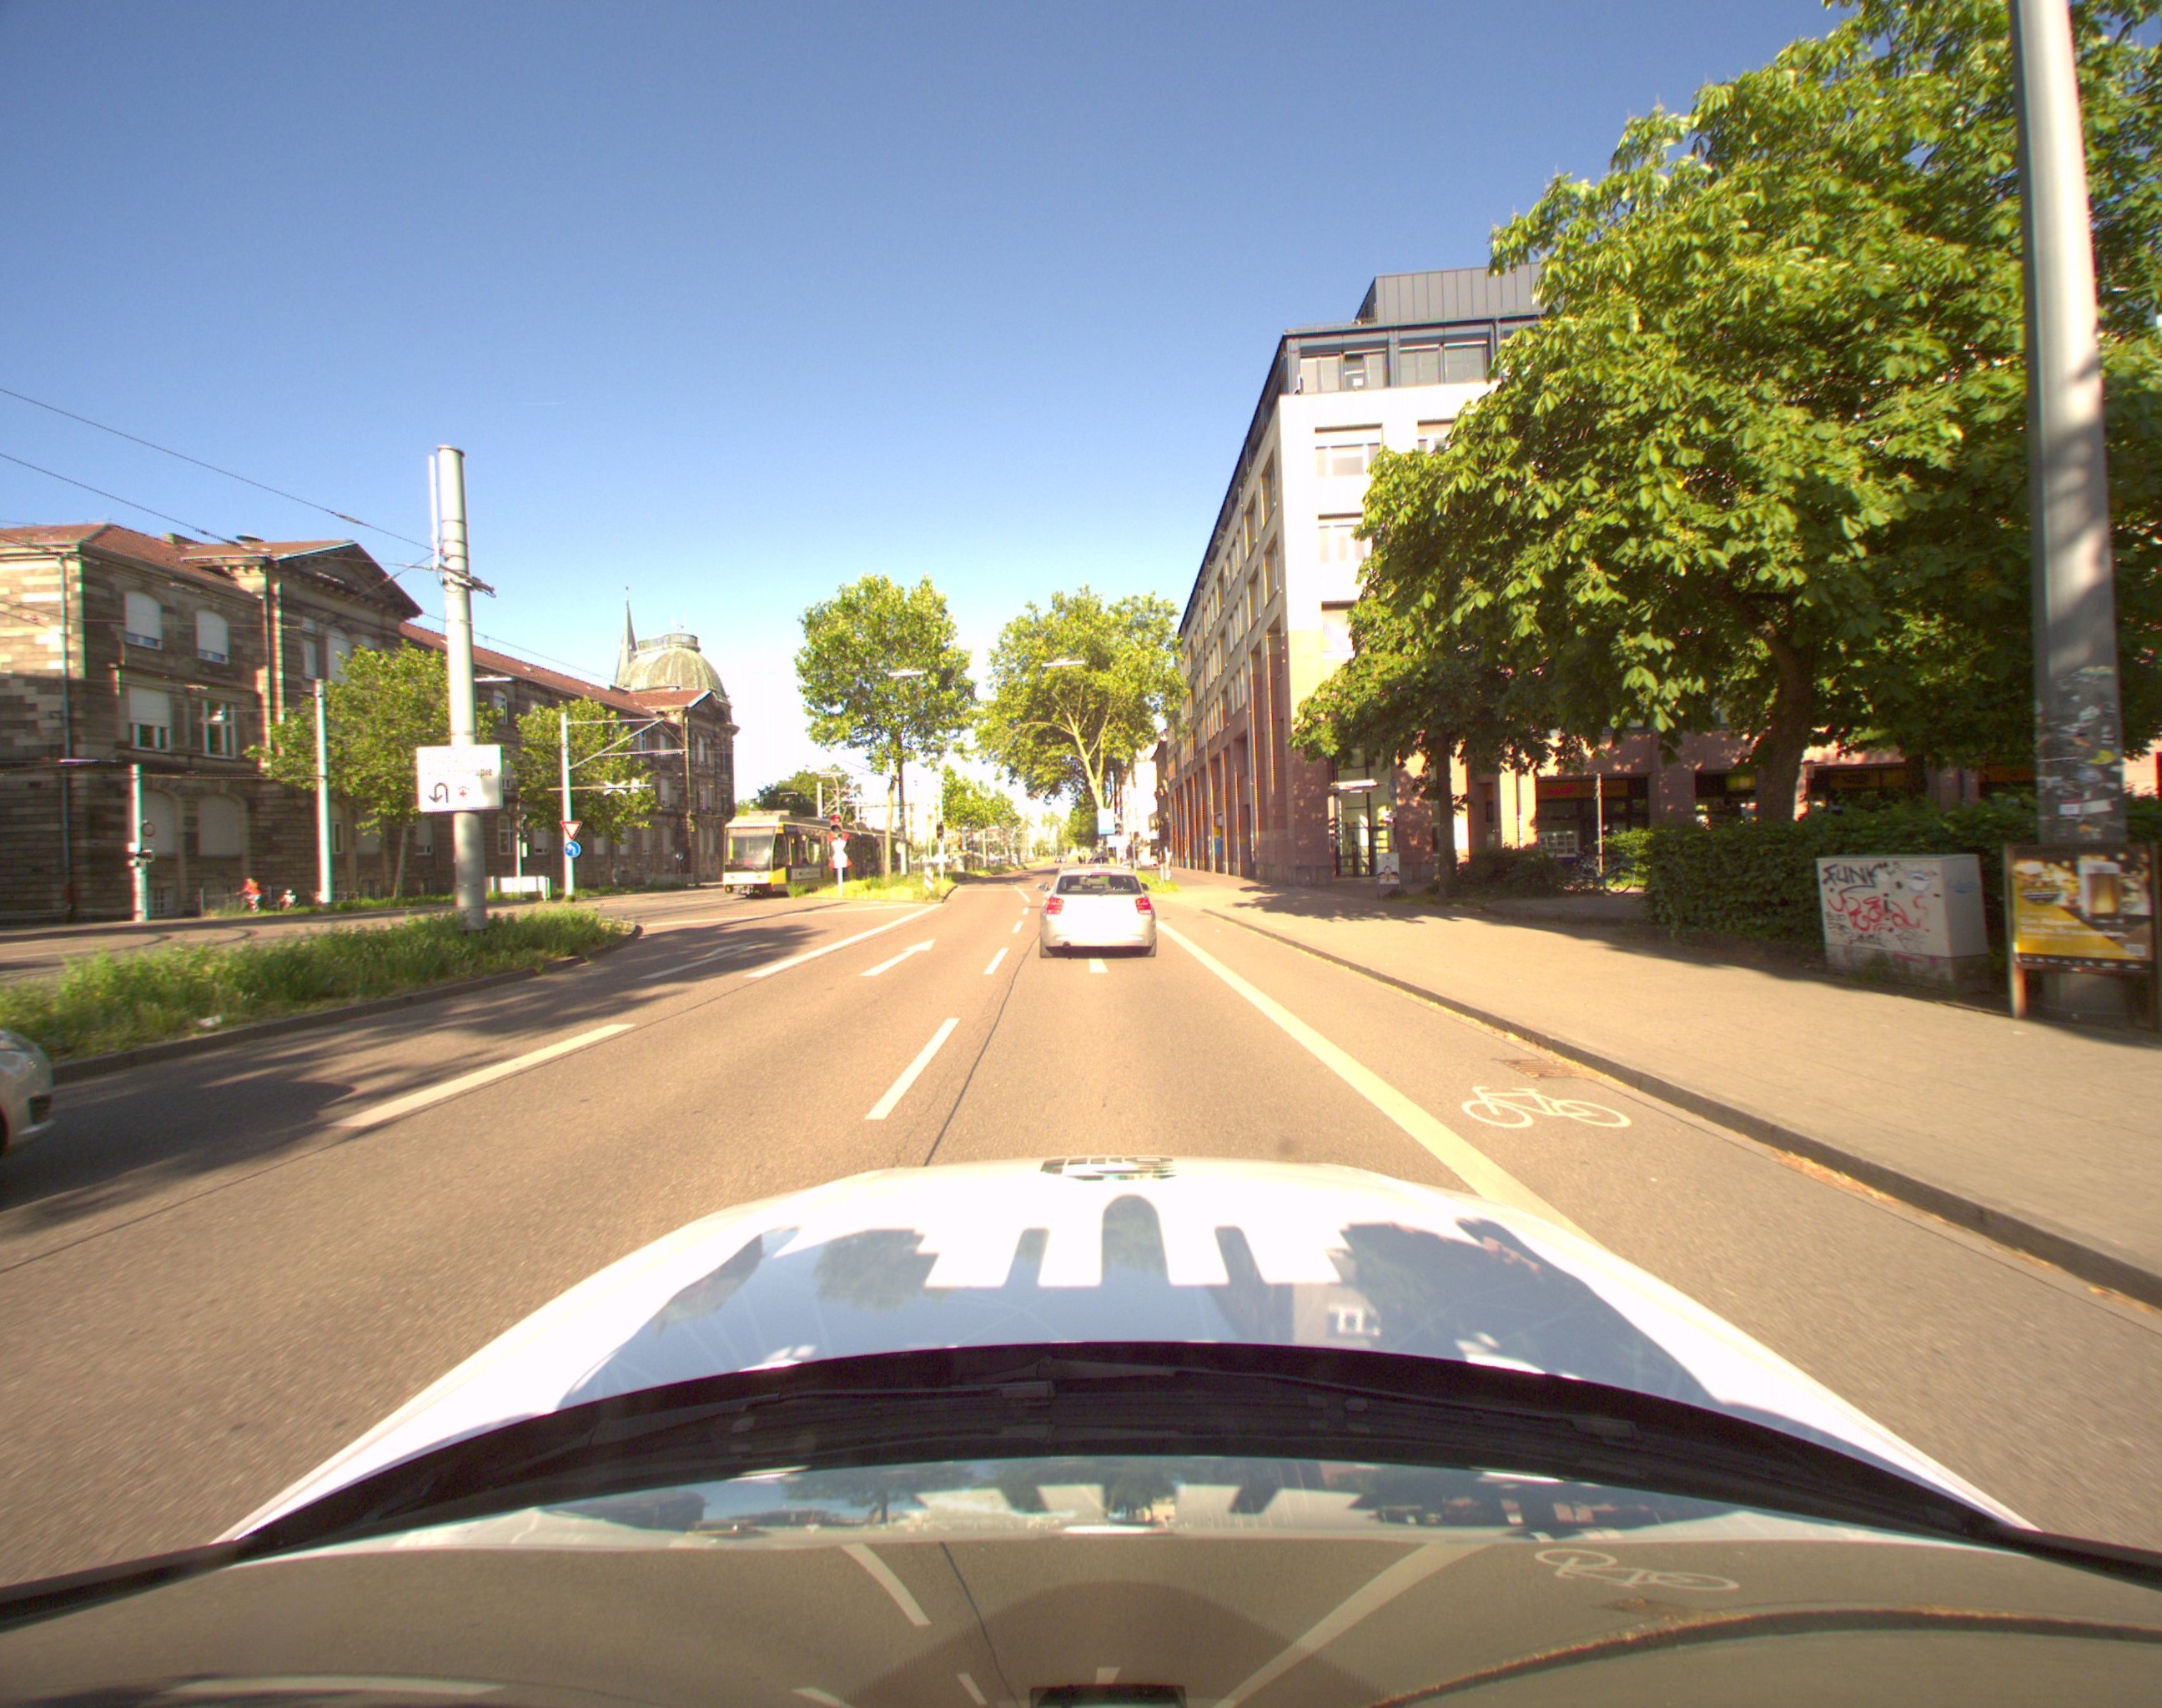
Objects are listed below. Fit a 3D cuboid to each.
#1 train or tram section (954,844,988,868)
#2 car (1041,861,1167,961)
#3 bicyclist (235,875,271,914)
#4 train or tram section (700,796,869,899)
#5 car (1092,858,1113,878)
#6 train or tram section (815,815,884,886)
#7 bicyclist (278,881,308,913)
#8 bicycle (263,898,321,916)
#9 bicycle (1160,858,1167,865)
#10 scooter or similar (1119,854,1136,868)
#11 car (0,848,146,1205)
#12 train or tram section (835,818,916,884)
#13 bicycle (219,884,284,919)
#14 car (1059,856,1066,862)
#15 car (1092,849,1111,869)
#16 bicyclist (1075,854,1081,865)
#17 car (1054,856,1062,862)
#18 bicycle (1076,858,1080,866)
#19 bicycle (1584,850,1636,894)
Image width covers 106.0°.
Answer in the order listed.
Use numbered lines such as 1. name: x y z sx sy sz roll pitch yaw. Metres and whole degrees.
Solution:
1. train or tram section: -17.097 0.327 128.352 2.955 3.483 21.206 0 0 -1
2. car: 0.369 0.827 13.602 1.791 1.415 4.001 0 0 1
3. bicyclist: -35.953 1.763 35.382 0.673 1.624 0.869 -1 0 -7
4. train or tram section: -12.845 -0.204 37.302 2.921 3.812 14.262 0 0 -2
5. car: 1.737 1.107 65.557 1.662 1.570 4.281 0 0 2
6. train or tram section: -13.105 -0.171 46.403 2.947 3.897 3.863 0 0 -2
7. bicyclist: -36.686 1.999 37.910 0.788 1.462 0.734 0 -1 19
8. bicycle: -36.653 2.457 37.847 0.520 0.722 1.910 0 0 18
9. bicycle: 9.199 0.798 90.900 0.547 0.773 1.662 -3 0 0
10. scooter or similar: 4.236 0.636 74.734 1.535 1.237 0.449 -2 0 0
11. car: -5.662 0.764 2.251 1.657 1.595 3.862 0 0 0
12. train or tram section: -13.286 -0.131 53.724 2.945 3.897 10.794 0 0 -2
13. bicycle: -35.969 2.028 35.346 0.524 1.389 2.347 0 0 -4
14. car: -4.714 1.242 204.834 1.639 1.421 4.000 -1 0 0
15. car: 2.006 0.507 82.289 1.850 2.014 4.723 0 0 0
16. bicyclist: -0.374 0.721 109.869 0.782 1.531 0.895 0 -1 0
17. car: -5.550 1.229 196.727 1.722 1.470 4.407 -1 0 -2
18. bicycle: -0.410 1.130 109.870 0.497 1.088 1.997 0 0 1
19. bicycle: 12.801 0.427 19.750 0.415 0.997 2.231 -2 -1 17
